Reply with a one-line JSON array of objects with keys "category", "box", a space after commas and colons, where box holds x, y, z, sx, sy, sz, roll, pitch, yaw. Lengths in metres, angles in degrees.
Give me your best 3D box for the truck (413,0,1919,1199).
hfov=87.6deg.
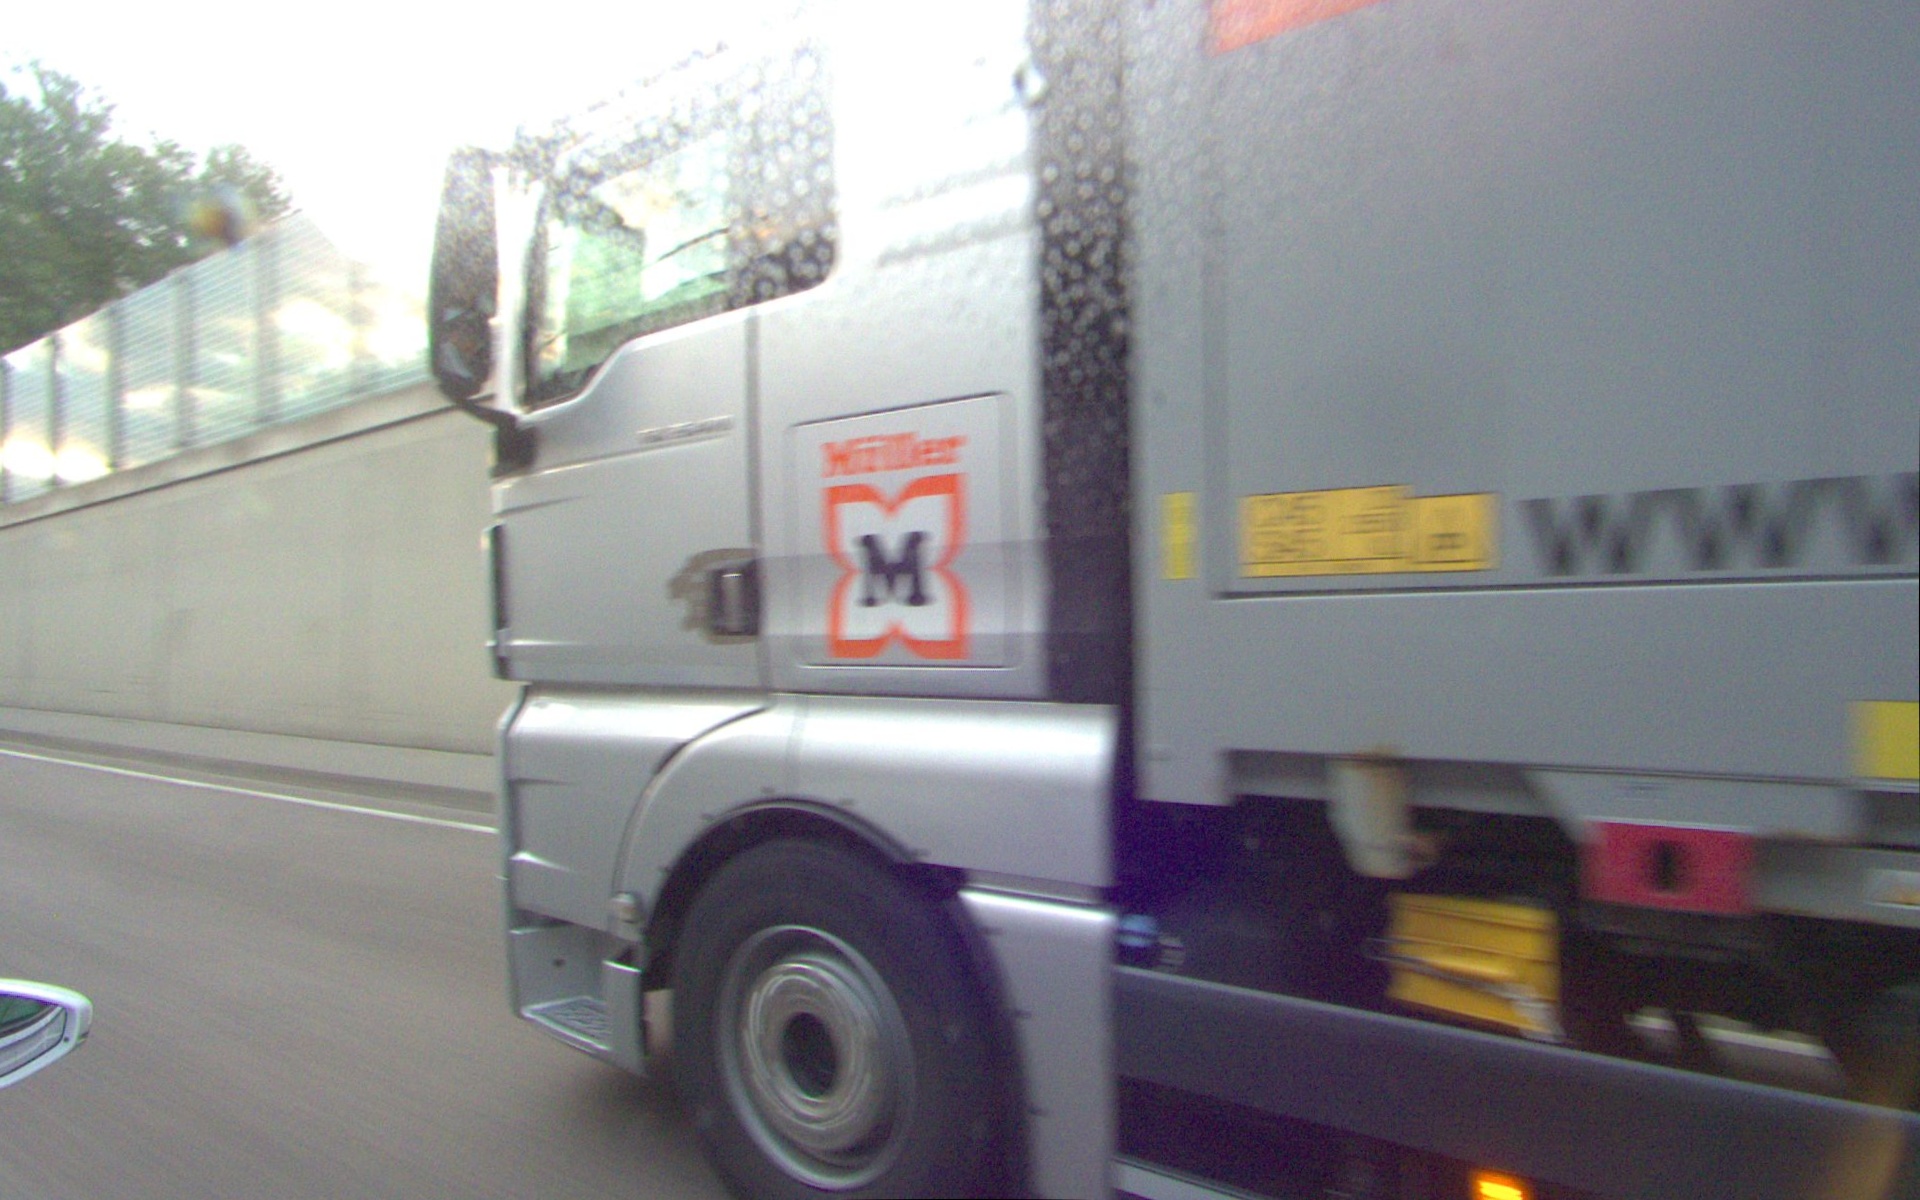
[{"category": "truck", "box": [3.207, -0.528, 1.543, 9.771, 3.964, 2.883, -2, -1, 33]}]
